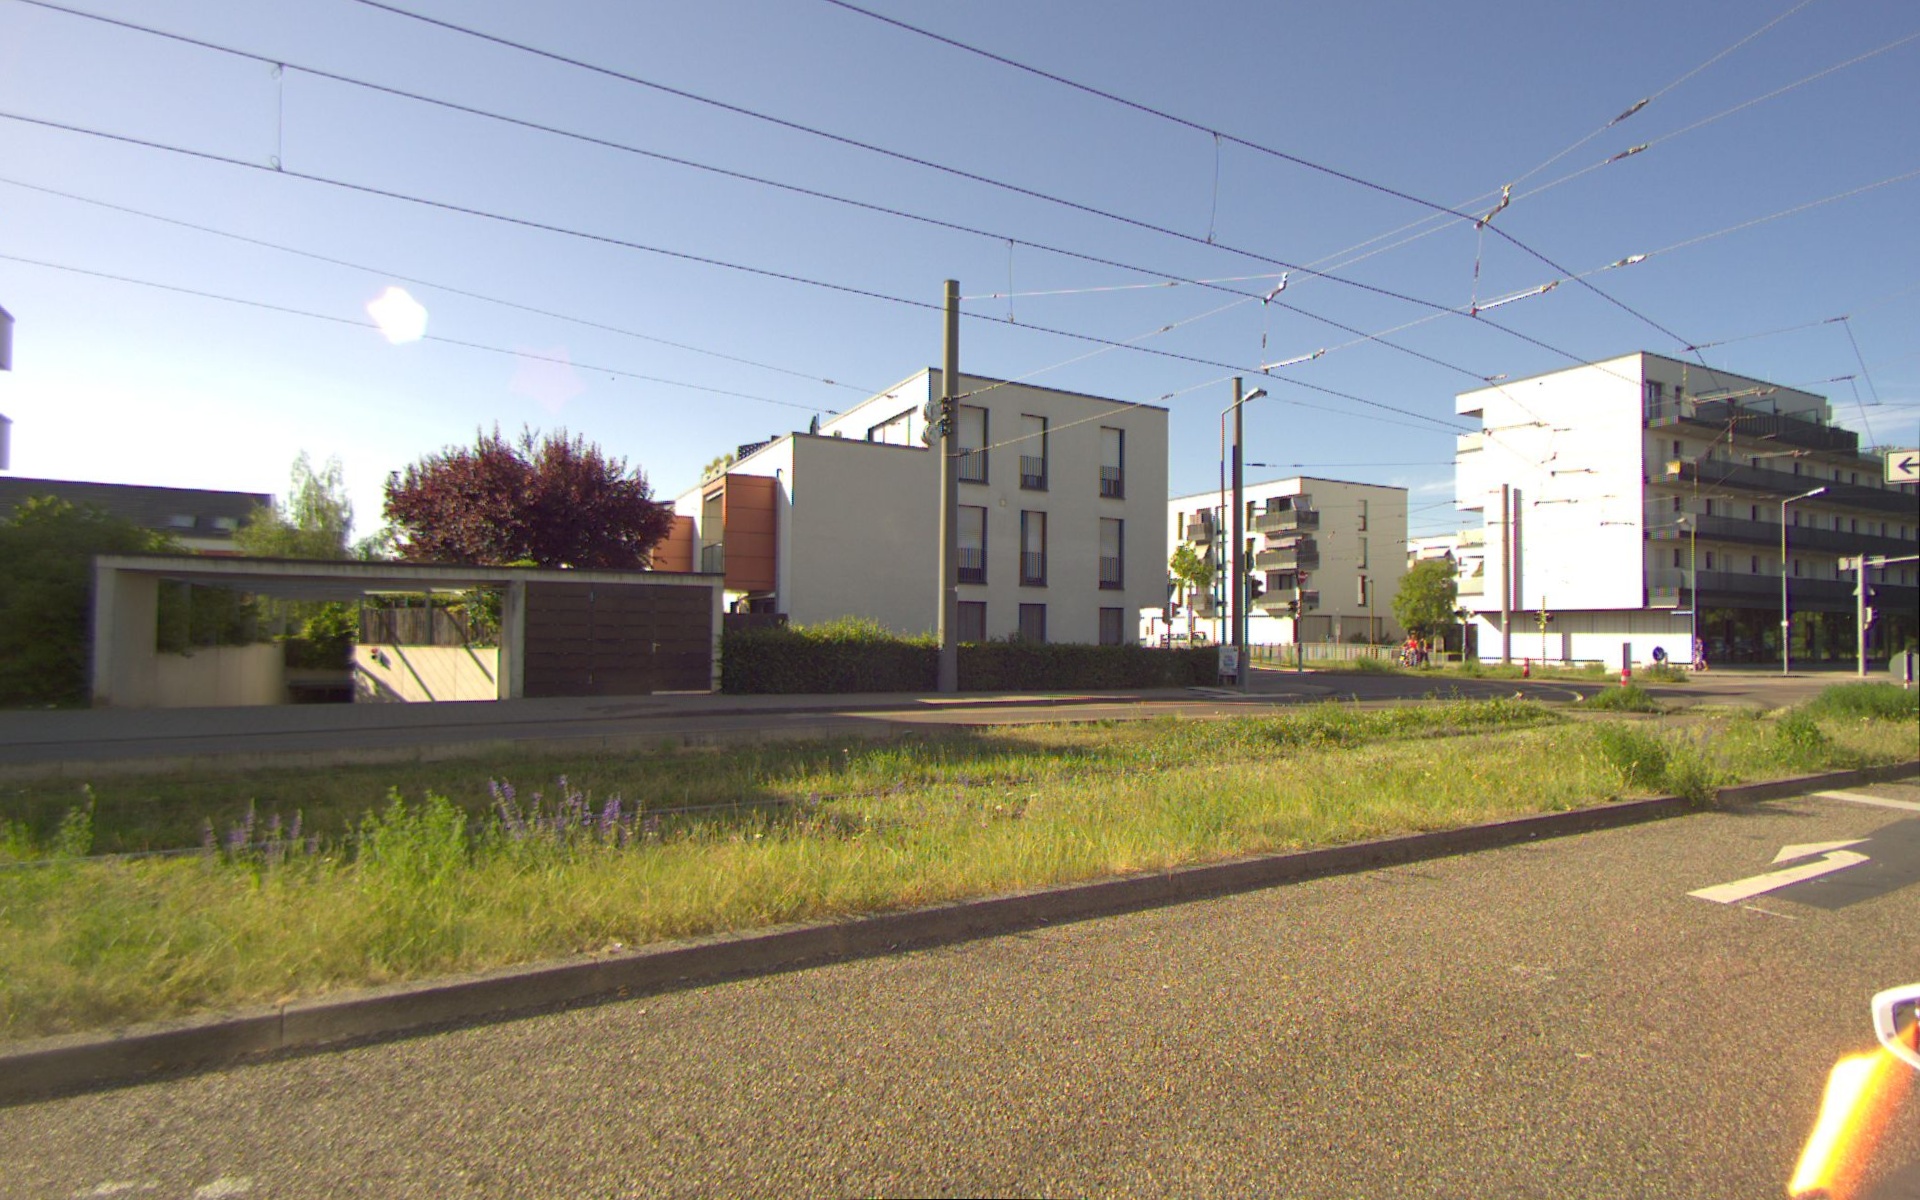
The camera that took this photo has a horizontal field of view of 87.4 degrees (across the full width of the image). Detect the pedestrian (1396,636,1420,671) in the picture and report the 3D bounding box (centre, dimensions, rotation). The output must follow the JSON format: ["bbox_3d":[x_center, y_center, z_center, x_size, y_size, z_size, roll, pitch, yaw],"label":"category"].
[{"bbox_3d":[21.396,2.538,48.008,0.736,1.626,0.765,2,0,-37],"label":"pedestrian"}]

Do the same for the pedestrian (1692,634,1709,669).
[{"bbox_3d":[37.692,2.627,51.111,0.513,1.767,0.539,2,0,-35],"label":"pedestrian"}]

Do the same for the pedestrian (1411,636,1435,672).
[{"bbox_3d":[21.805,2.547,47.320,0.736,1.626,0.765,2,0,-37],"label":"pedestrian"}]

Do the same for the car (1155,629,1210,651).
[{"bbox_3d":[17.772,3.172,80.324,1.974,1.595,4.309,2,0,-27],"label":"car"}]

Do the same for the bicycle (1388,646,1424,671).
[{"bbox_3d":[22.177,2.901,49.944,1.843,1.139,0.814,2,0,-36],"label":"bicycle"}]

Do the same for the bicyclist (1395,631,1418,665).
[{"bbox_3d":[22.180,2.361,49.915,0.634,1.635,0.777,2,0,-35],"label":"bicyclist"}]

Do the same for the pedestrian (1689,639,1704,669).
[{"bbox_3d":[37.246,2.729,50.815,0.513,1.523,0.438,2,0,-35],"label":"pedestrian"}]
